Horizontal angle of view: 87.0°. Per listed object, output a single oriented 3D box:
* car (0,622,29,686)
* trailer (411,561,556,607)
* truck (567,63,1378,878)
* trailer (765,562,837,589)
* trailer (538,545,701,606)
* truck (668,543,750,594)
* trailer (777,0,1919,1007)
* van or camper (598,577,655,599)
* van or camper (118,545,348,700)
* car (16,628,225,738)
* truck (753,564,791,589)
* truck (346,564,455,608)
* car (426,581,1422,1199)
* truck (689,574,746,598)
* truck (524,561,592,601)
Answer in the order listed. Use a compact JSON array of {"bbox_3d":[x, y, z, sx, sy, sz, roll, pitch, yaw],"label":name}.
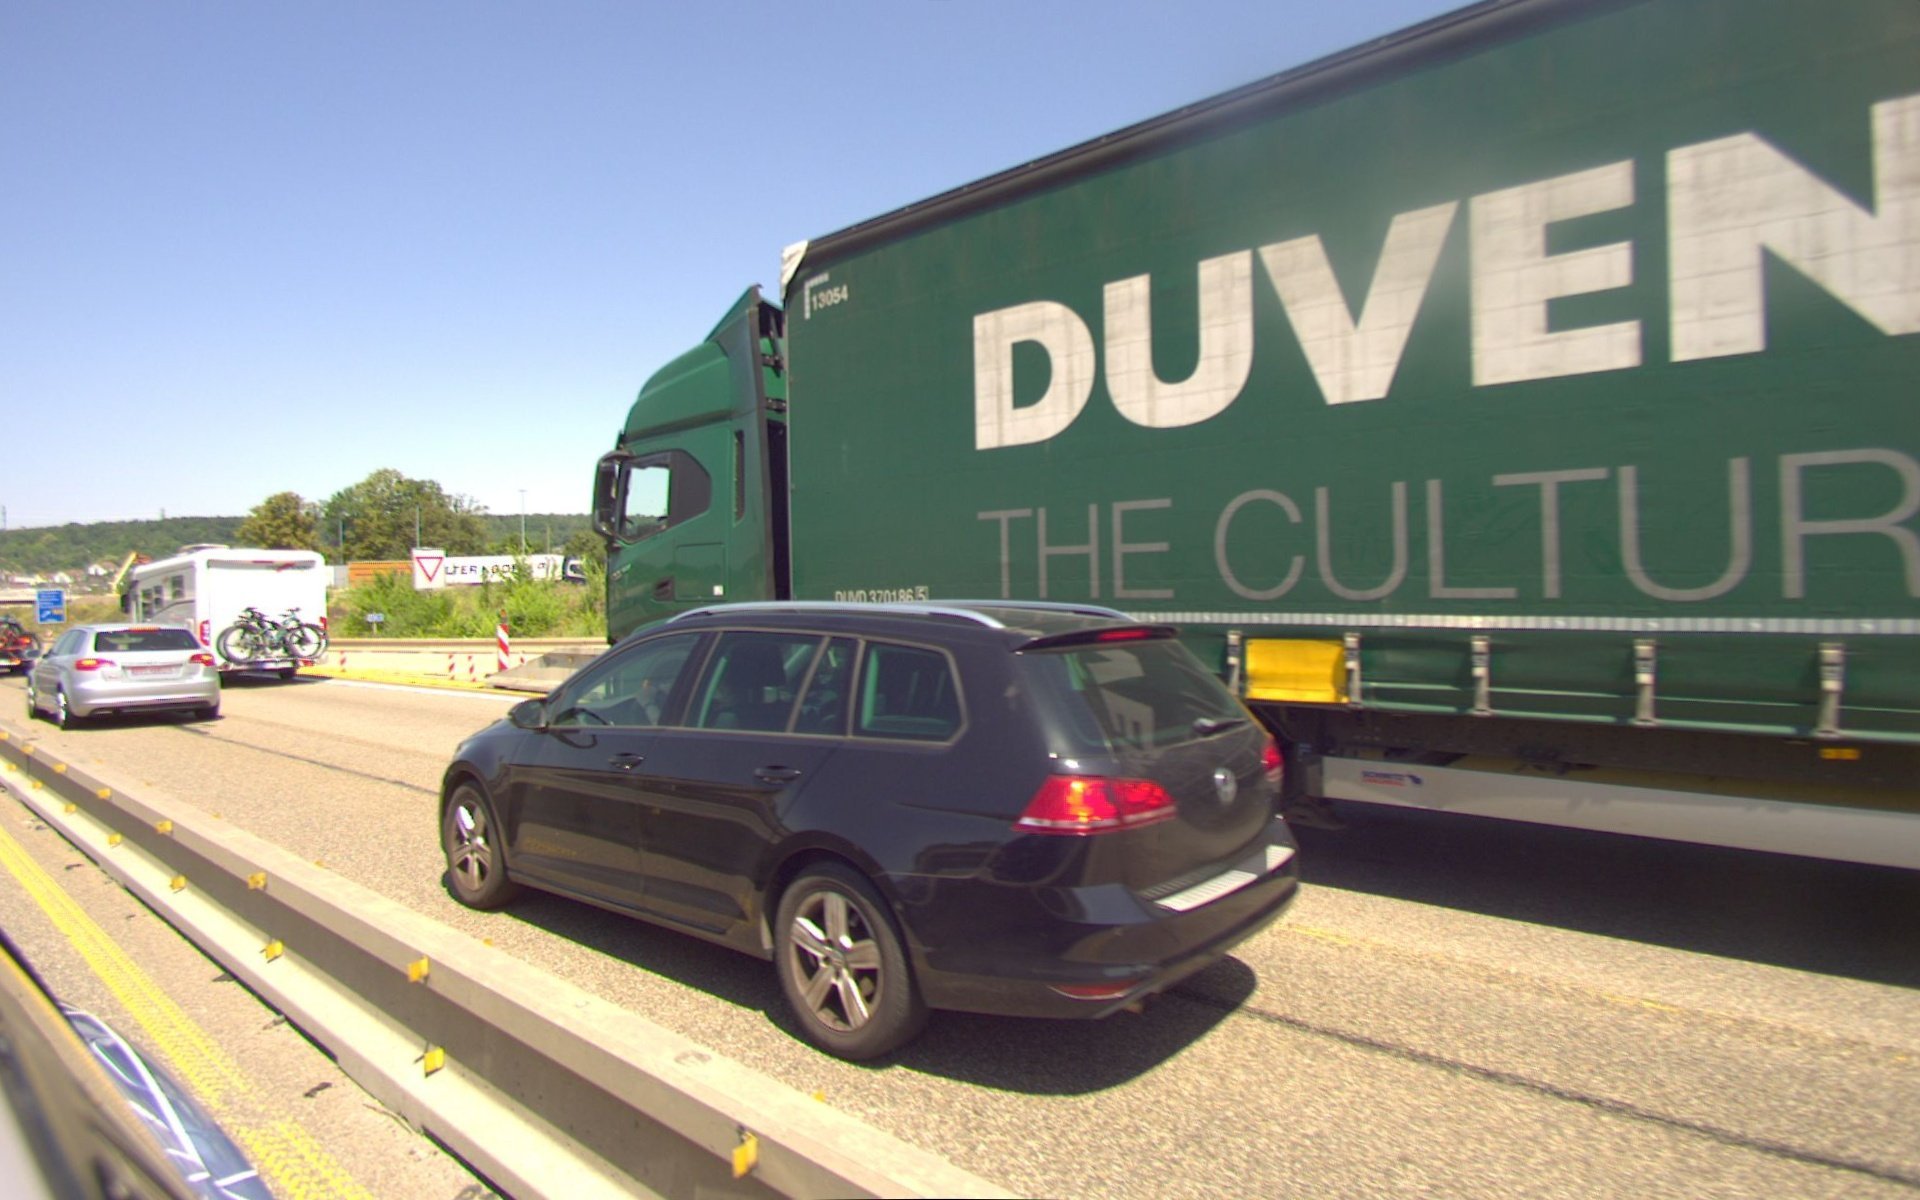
[{"bbox_3d":[-26.285,1.415,27.064,4.489,1.614,1.630,-1,-1,42],"label":"car"},{"bbox_3d":[-46.854,-1.612,99.778,12.558,3.812,2.624,-3,2,-5],"label":"trailer"},{"bbox_3d":[-0.260,-0.642,8.443,6.278,4.235,2.976,-1,0,40],"label":"truck"},{"bbox_3d":[-22.551,-3.442,142.674,11.692,3.405,2.915,-1,0,39],"label":"trailer"},{"bbox_3d":[-27.942,-2.049,83.434,12.190,4.197,2.864,-3,2,-5],"label":"trailer"},{"bbox_3d":[-20.795,-2.643,84.032,6.053,3.777,2.837,-3,2,-5],"label":"truck"},{"bbox_3d":[4.921,-0.761,3.973,13.841,4.230,2.976,-1,0,40],"label":"trailer"},{"bbox_3d":[-44.190,-1.530,134.053,8.582,2.754,2.728,-1,0,37],"label":"van or camper"},{"bbox_3d":[-16.503,0.478,22.723,7.818,2.939,2.412,-1,0,41],"label":"van or camper"},{"bbox_3d":[-12.213,1.099,14.649,3.887,1.362,1.692,-1,-2,41],"label":"car"},{"bbox_3d":[-27.170,-3.349,146.366,4.901,3.382,2.866,-1,1,38],"label":"truck"},{"bbox_3d":[-61.654,-1.615,111.732,9.740,4.250,3.591,-4,2,-6],"label":"truck"},{"bbox_3d":[-0.506,0.730,4.360,4.224,1.484,1.748,-1,-1,41],"label":"car"},{"bbox_3d":[-29.177,-1.715,121.635,7.774,2.624,2.516,-1,1,41],"label":"truck"},{"bbox_3d":[-39.846,-1.922,100.519,5.646,3.644,2.586,-4,2,-9],"label":"truck"}]
